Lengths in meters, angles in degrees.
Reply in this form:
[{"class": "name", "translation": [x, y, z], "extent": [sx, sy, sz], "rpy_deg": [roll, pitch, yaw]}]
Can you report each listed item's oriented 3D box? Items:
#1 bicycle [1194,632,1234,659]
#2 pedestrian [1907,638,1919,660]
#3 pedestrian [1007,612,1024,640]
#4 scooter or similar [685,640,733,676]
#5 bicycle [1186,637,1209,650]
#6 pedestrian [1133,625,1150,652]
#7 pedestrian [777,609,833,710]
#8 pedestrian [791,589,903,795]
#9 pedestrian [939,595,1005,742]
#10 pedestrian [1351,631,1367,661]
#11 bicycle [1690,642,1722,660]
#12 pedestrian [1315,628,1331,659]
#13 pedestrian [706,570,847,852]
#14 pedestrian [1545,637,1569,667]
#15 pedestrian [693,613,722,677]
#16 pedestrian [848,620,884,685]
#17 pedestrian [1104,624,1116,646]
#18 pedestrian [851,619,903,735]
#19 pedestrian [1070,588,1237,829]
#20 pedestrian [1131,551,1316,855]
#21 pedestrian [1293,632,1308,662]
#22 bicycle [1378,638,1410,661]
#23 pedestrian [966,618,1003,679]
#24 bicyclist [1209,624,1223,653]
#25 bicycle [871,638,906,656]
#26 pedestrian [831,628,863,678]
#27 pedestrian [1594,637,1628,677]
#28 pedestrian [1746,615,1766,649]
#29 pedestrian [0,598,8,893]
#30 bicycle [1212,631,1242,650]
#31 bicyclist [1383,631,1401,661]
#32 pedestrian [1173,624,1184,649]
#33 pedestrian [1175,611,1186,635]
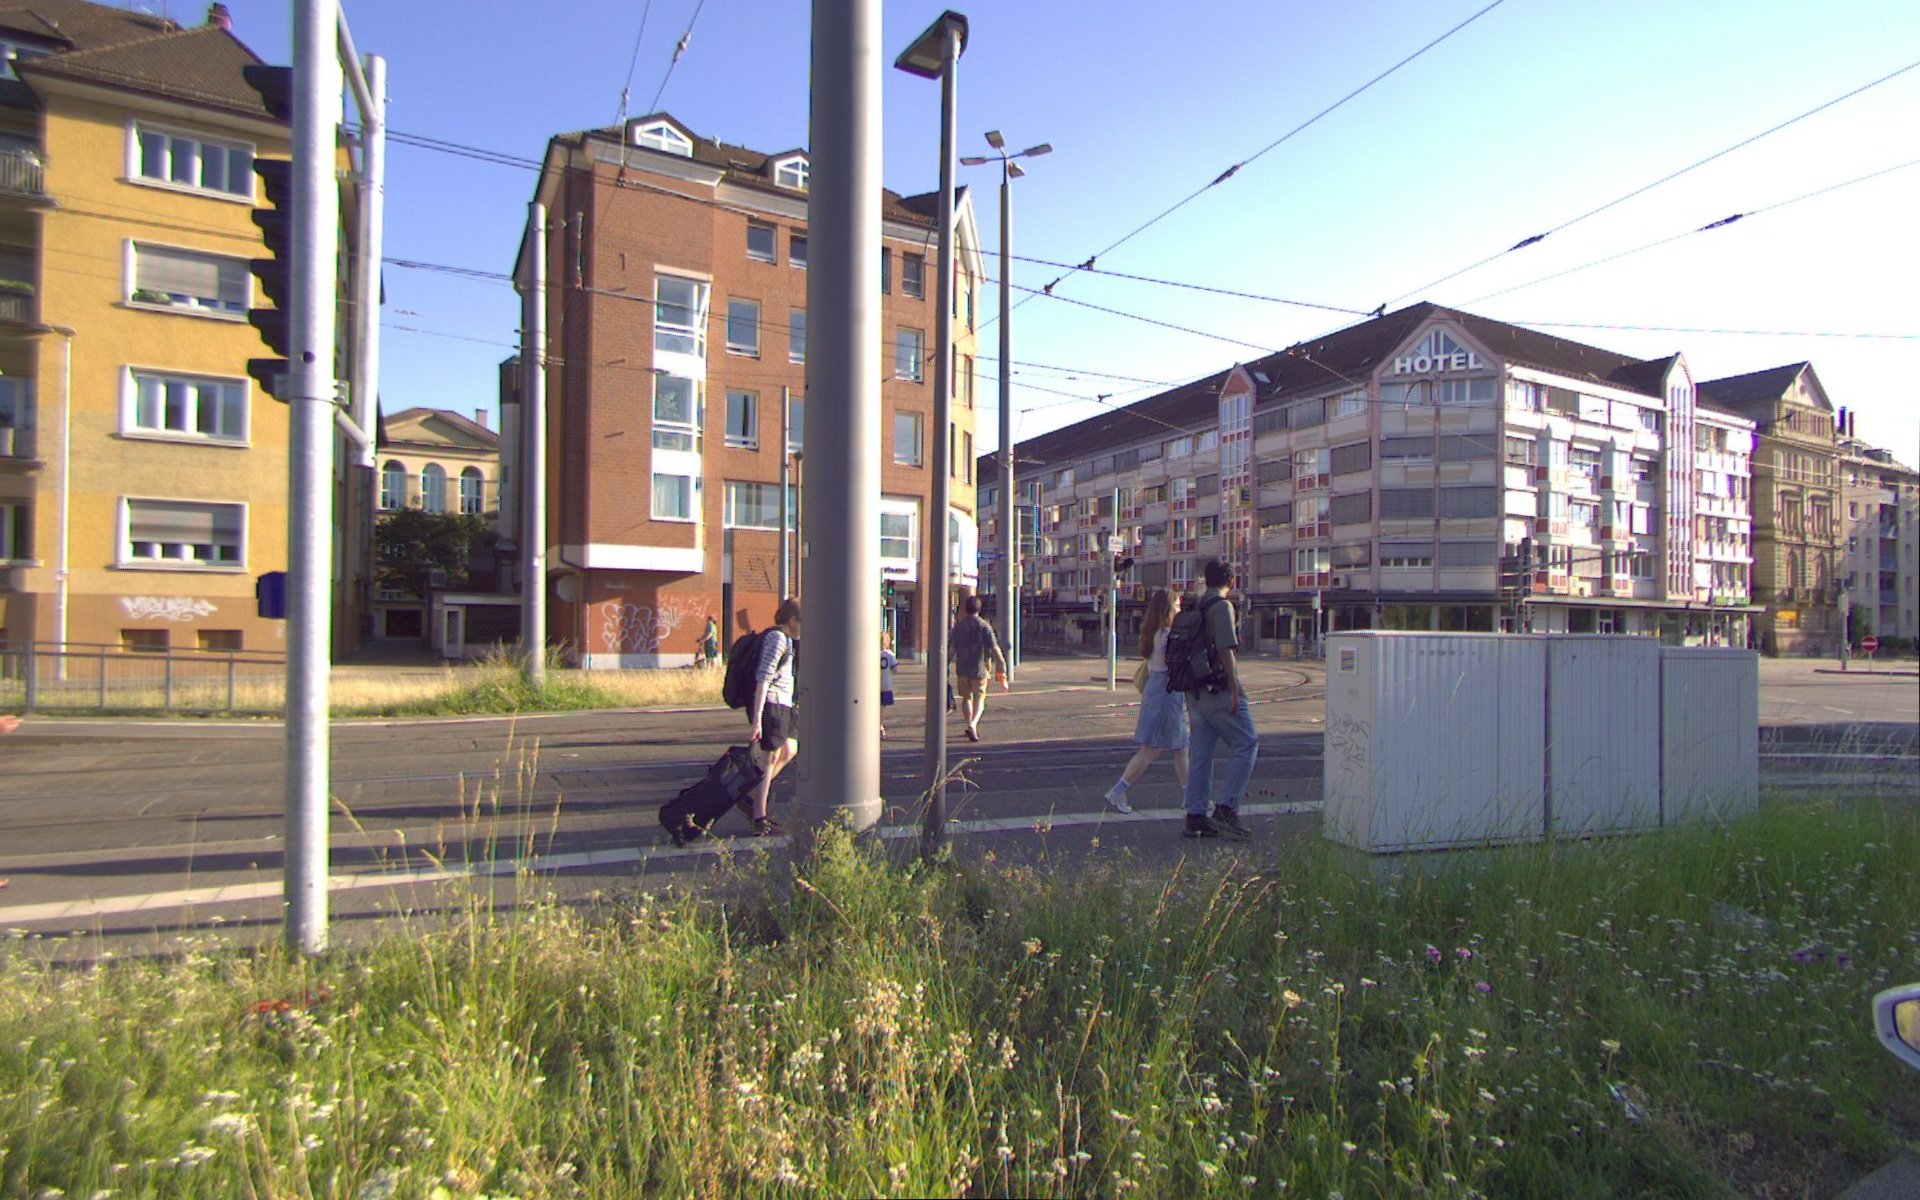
[{"class": "bicycle", "translation": [13.551, 2.432, 53.669], "extent": [2.052, 1.385, 0.584], "rpy_deg": [0, 1, 11]}, {"class": "pedestrian", "translation": [77.025, 3.951, 81.035], "extent": [0.715, 1.717, 0.692], "rpy_deg": [2, 0, -30]}, {"class": "pedestrian", "translation": [3.436, 1.607, 62.460], "extent": [0.773, 1.682, 0.677], "rpy_deg": [2, 0, -35]}, {"class": "scooter or similar", "translation": [-7.446, 1.721, 29.829], "extent": [1.311, 1.019, 0.484], "rpy_deg": [2, 0, -23]}, {"class": "bicycle", "translation": [17.084, 3.124, 72.271], "extent": [0.494, 0.929, 2.066], "rpy_deg": [2, -2, -24]}, {"class": "pedestrian", "translation": [11.719, 2.496, 64.849], "extent": [0.773, 1.682, 0.677], "rpy_deg": [2, 0, -35]}, {"class": "pedestrian", "translation": [-2.550, 0.970, 16.532], "extent": [0.776, 1.609, 0.605], "rpy_deg": [2, 0, -20]}, {"class": "pedestrian", "translation": [-0.918, 0.700, 8.064], "extent": [0.612, 1.556, 0.782], "rpy_deg": [2, 0, -28]}, {"class": "pedestrian", "translation": [0.134, 0.848, 12.774], "extent": [0.761, 1.781, 0.900], "rpy_deg": [2, 0, -1]}, {"class": "pedestrian", "translation": [22.842, 2.609, 57.470], "extent": [0.705, 1.684, 0.631], "rpy_deg": [-1, -2, 37]}, {"class": "bicycle", "translation": [48.484, 3.294, 65.275], "extent": [2.056, 1.085, 0.451], "rpy_deg": [2, 0, -13]}, {"class": "pedestrian", "translation": [21.310, 2.561, 58.981], "extent": [0.503, 1.788, 1.001], "rpy_deg": [2, 0, 40]}, {"class": "pedestrian", "translation": [-1.186, 0.658, 6.414], "extent": [0.612, 1.662, 0.781], "rpy_deg": [2, 0, -32]}, {"class": "pedestrian", "translation": [29.913, 2.590, 50.331], "extent": [0.847, 1.472, 0.700], "rpy_deg": [2, 0, -34]}, {"class": "pedestrian", "translation": [-7.538, 1.349, 29.947], "extent": [0.713, 1.872, 0.559], "rpy_deg": [2, 0, -23]}, {"class": "pedestrian", "translation": [-2.382, 1.320, 25.487], "extent": [0.825, 1.605, 0.683], "rpy_deg": [2, 0, -3]}, {"class": "pedestrian", "translation": [12.521, 2.893, 83.896], "extent": [0.804, 1.802, 0.680], "rpy_deg": [2, 0, 0]}, {"class": "pedestrian", "translation": [-1.045, 0.957, 12.643], "extent": [0.585, 1.378, 0.607], "rpy_deg": [3, 2, -5]}, {"class": "pedestrian", "translation": [1.430, 0.754, 7.474], "extent": [0.889, 1.662, 0.782], "rpy_deg": [2, 0, -29]}, {"class": "pedestrian", "translation": [1.718, 0.611, 6.594], "extent": [0.889, 1.825, 0.781], "rpy_deg": [-1, 1, -30]}, {"class": "pedestrian", "translation": [19.862, 2.714, 58.588], "extent": [0.612, 1.717, 0.866], "rpy_deg": [2, 0, 29]}, {"class": "bicycle", "translation": [24.169, 2.767, 55.926], "extent": [1.746, 1.160, 0.636], "rpy_deg": [-1, 1, -27]}, {"class": "pedestrian", "translation": [0.718, 1.430, 29.876], "extent": [0.824, 1.781, 0.687], "rpy_deg": [2, 0, -44]}, {"class": "bicyclist", "translation": [13.670, 2.042, 53.644], "extent": [0.723, 1.501, 0.567], "rpy_deg": [0, 1, 11]}, {"class": "bicycle", "translation": [-3.918, 2.582, 55.020], "extent": [1.813, 0.974, 0.540], "rpy_deg": [1, 1, -27]}, {"class": "pedestrian", "translation": [-3.764, 1.743, 33.453], "extent": [0.825, 1.605, 0.684], "rpy_deg": [2, 0, 15]}, {"class": "pedestrian", "translation": [33.080, 2.877, 51.046], "extent": [0.847, 1.909, 1.187], "rpy_deg": [-6, 4, -34]}, {"class": "pedestrian", "translation": [57.855, 2.319, 73.043], "extent": [0.953, 2.430, 0.918], "rpy_deg": [2, 0, -40]}, {"class": "pedestrian", "translation": [-5.120, 0.707, 4.942], "extent": [0.628, 1.451, 0.523], "rpy_deg": [2, 0, 38]}, {"class": "bicycle", "translation": [18.452, 2.822, 69.587], "extent": [0.720, 1.243, 2.319], "rpy_deg": [2, -2, -24]}, {"class": "bicyclist", "translation": [24.037, 2.539, 55.850], "extent": [0.649, 1.618, 0.636], "rpy_deg": [-1, 1, -26]}, {"class": "pedestrian", "translation": [16.627, 2.758, 76.420], "extent": [0.601, 1.877, 0.601], "rpy_deg": [2, 0, -20]}, {"class": "pedestrian", "translation": [16.197, 1.686, 73.673], "extent": [0.598, 1.655, 0.604], "rpy_deg": [6, -5, 16]}]
